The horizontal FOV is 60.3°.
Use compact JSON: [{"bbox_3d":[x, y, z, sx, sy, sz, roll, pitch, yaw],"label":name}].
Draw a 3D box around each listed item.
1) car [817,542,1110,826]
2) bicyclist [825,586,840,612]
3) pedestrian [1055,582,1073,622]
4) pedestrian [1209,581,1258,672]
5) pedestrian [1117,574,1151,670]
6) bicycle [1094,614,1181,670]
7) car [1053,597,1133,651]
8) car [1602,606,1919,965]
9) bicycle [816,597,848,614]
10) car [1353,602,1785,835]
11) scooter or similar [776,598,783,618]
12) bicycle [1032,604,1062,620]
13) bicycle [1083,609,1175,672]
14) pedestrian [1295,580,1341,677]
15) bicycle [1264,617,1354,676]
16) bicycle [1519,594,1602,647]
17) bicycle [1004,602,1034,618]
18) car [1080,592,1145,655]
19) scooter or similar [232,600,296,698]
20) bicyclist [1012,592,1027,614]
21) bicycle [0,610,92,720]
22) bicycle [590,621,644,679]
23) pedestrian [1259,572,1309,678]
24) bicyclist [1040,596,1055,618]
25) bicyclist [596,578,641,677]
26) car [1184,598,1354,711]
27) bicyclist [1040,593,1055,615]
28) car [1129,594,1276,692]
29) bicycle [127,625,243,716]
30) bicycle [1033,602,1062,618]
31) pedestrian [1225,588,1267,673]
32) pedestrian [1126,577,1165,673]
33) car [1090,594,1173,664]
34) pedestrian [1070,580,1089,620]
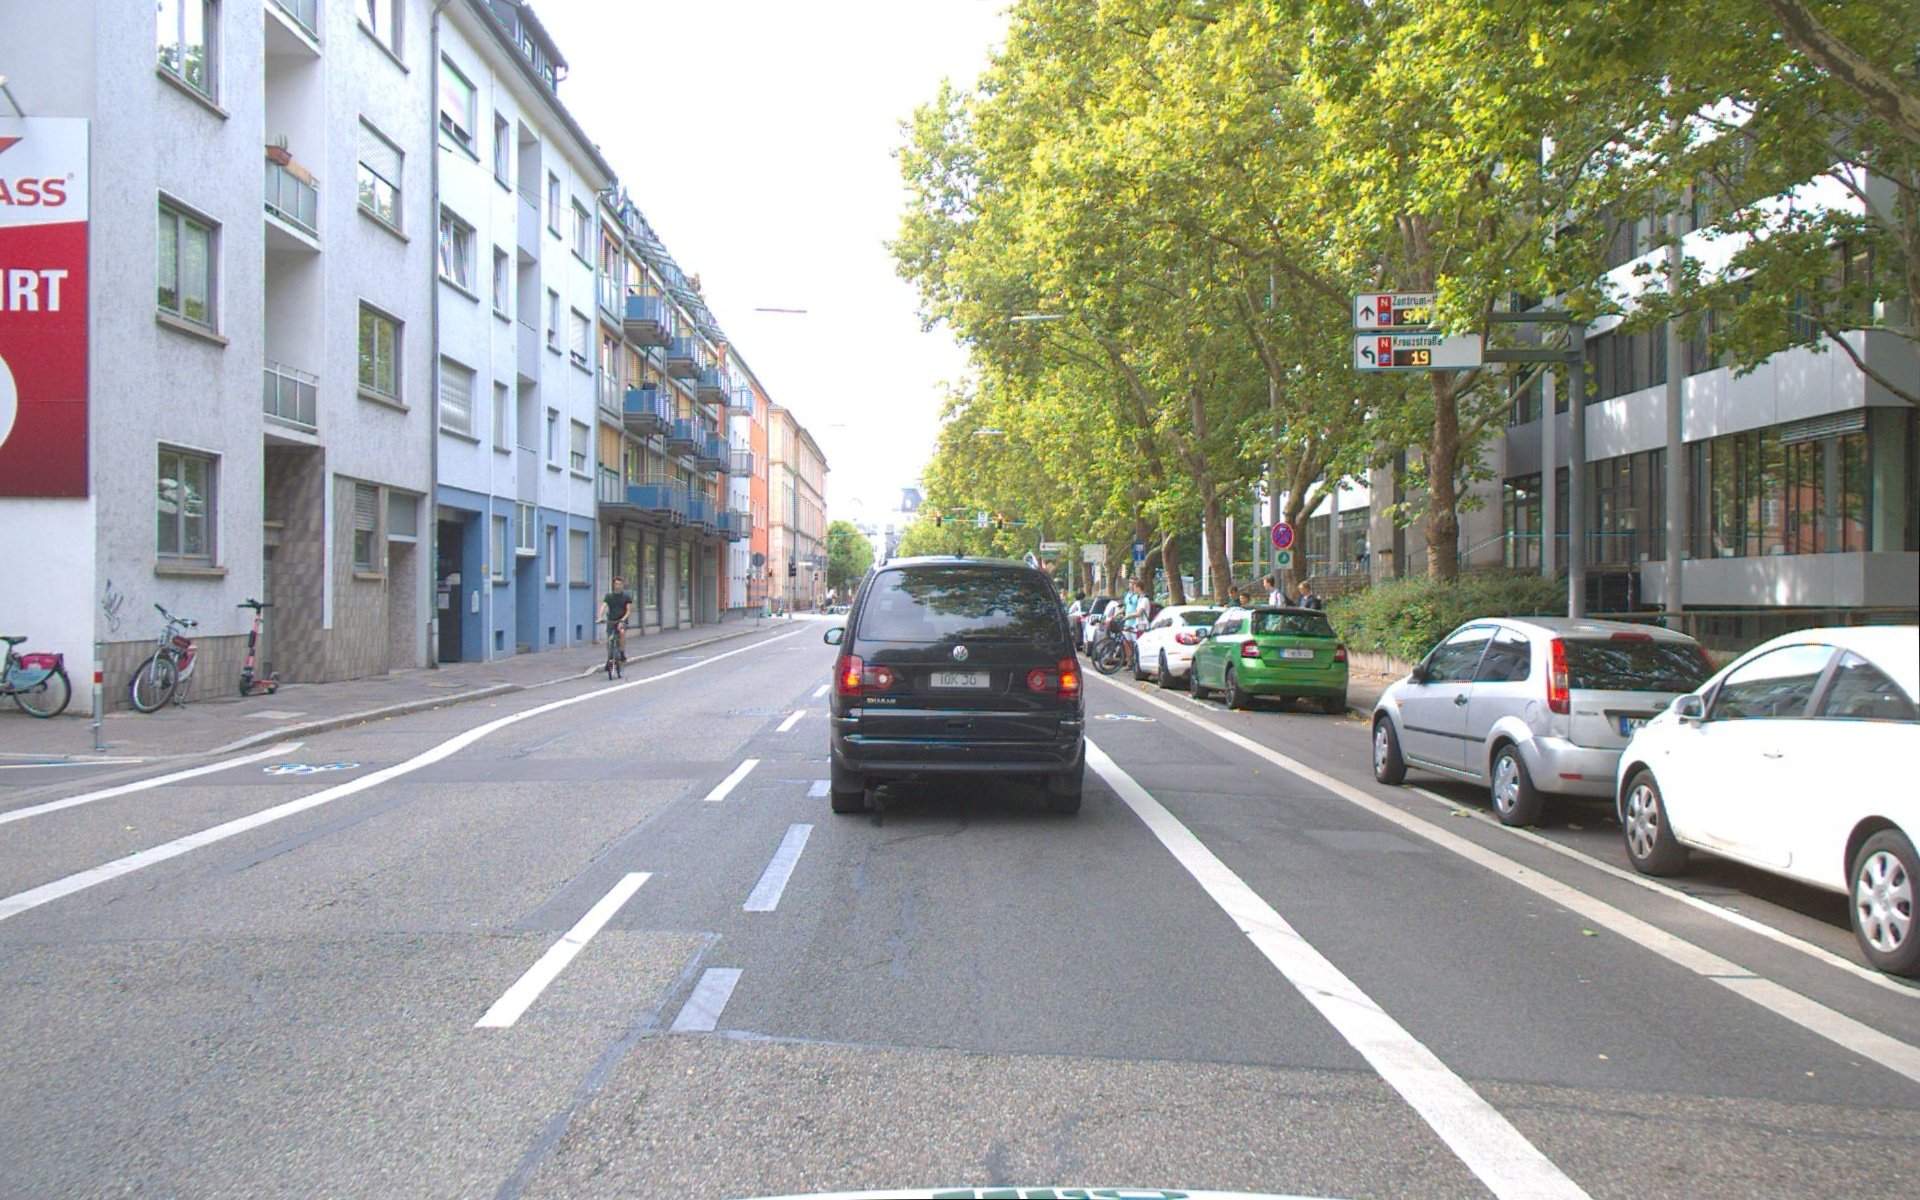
[{"bbox_3d":[-0.063,0.515,12.684,1.836,1.775,4.571,0,0,-2],"label":"car"},{"bbox_3d":[-7.997,-0.046,103.606,0.839,1.594,0.576,1,-1,-10],"label":"bicyclist"},{"bbox_3d":[4.823,0.080,76.734,0.696,1.814,1.033,-2,0,-3],"label":"pedestrian"},{"bbox_3d":[5.699,0.544,34.537,0.853,1.848,0.780,1,0,-2],"label":"pedestrian"},{"bbox_3d":[3.612,0.450,34.289,0.466,1.968,0.742,1,0,-12],"label":"pedestrian"},{"bbox_3d":[3.703,0.876,34.568,1.704,1.125,0.550,1,0,-13],"label":"bicycle"},{"bbox_3d":[3.821,0.655,48.215,1.664,1.450,4.418,2,0,-4],"label":"car"},{"bbox_3d":[4.875,0.810,8.138,1.718,1.472,4.217,2,0,-1],"label":"car"},{"bbox_3d":[-8.020,0.338,103.599,1.889,1.046,0.582,1,0,-10],"label":"bicycle"},{"bbox_3d":[4.519,0.797,12.922,1.611,1.472,3.878,2,0,-6],"label":"car"},{"bbox_3d":[-10.638,0.476,97.685,0.370,1.164,1.140,0,-1,-5],"label":"scooter or similar"},{"bbox_3d":[5.794,0.796,110.330,1.890,1.046,0.581,1,0,-12],"label":"bicycle"},{"bbox_3d":[3.402,0.809,33.219,1.762,1.238,0.550,1,0,-19],"label":"bicycle"},{"bbox_3d":[7.096,0.552,32.804,0.706,1.887,0.703,1,0,-2],"label":"pedestrian"},{"bbox_3d":[7.010,0.926,33.231,1.736,1.152,0.461,1,0,-13],"label":"bicycle"},{"bbox_3d":[13.379,0.440,36.883,1.642,1.137,0.603,-1,0,-8],"label":"bicycle"},{"bbox_3d":[3.981,0.675,111.487,1.890,1.046,0.581,1,0,-12],"label":"bicycle"},{"bbox_3d":[4.010,0.608,43.743,1.504,1.570,2.599,1,0,1],"label":"car"},{"bbox_3d":[-9.206,0.633,21.899,0.342,1.243,1.201,1,0,-1],"label":"scooter or similar"},{"bbox_3d":[4.008,0.211,111.469,0.898,1.492,0.568,1,0,-12],"label":"bicyclist"},{"bbox_3d":[-10.251,0.684,17.624,1.735,1.137,0.453,1,0,-2],"label":"bicycle"},{"bbox_3d":[-6.496,0.931,31.399,0.633,1.032,2.076,-1,0,-2],"label":"bicycle"},{"bbox_3d":[6.296,0.483,32.180,0.777,2.032,0.749,1,0,-2],"label":"pedestrian"},{"bbox_3d":[5.844,0.457,110.334,0.898,1.492,0.568,1,0,-12],"label":"bicyclist"},{"bbox_3d":[-6.498,0.525,31.510,0.638,1.842,1.045,-1,0,-1],"label":"bicyclist"},{"bbox_3d":[4.498,0.743,24.564,1.556,1.475,3.803,2,0,-4],"label":"car"},{"bbox_3d":[5.955,0.302,112.960,0.899,1.492,0.568,1,0,-14],"label":"bicyclist"},{"bbox_3d":[4.226,0.704,29.478,1.647,1.542,4.541,2,0,-4],"label":"car"},{"bbox_3d":[-8.963,0.793,19.200,0.585,0.967,1.662,1,0,-1],"label":"bicycle"},{"bbox_3d":[5.967,0.672,112.971,1.892,1.046,0.581,1,0,-15],"label":"bicycle"},{"bbox_3d":[5.832,0.617,33.763,0.706,1.687,0.654,1,0,-2],"label":"pedestrian"},{"bbox_3d":[3.692,0.492,32.956,0.511,1.877,0.741,1,0,-16],"label":"pedestrian"},{"bbox_3d":[4.019,0.651,39.182,1.497,1.528,3.659,2,0,-1],"label":"car"},{"bbox_3d":[5.545,0.020,76.757,0.700,1.831,1.033,-2,0,-3],"label":"pedestrian"}]
